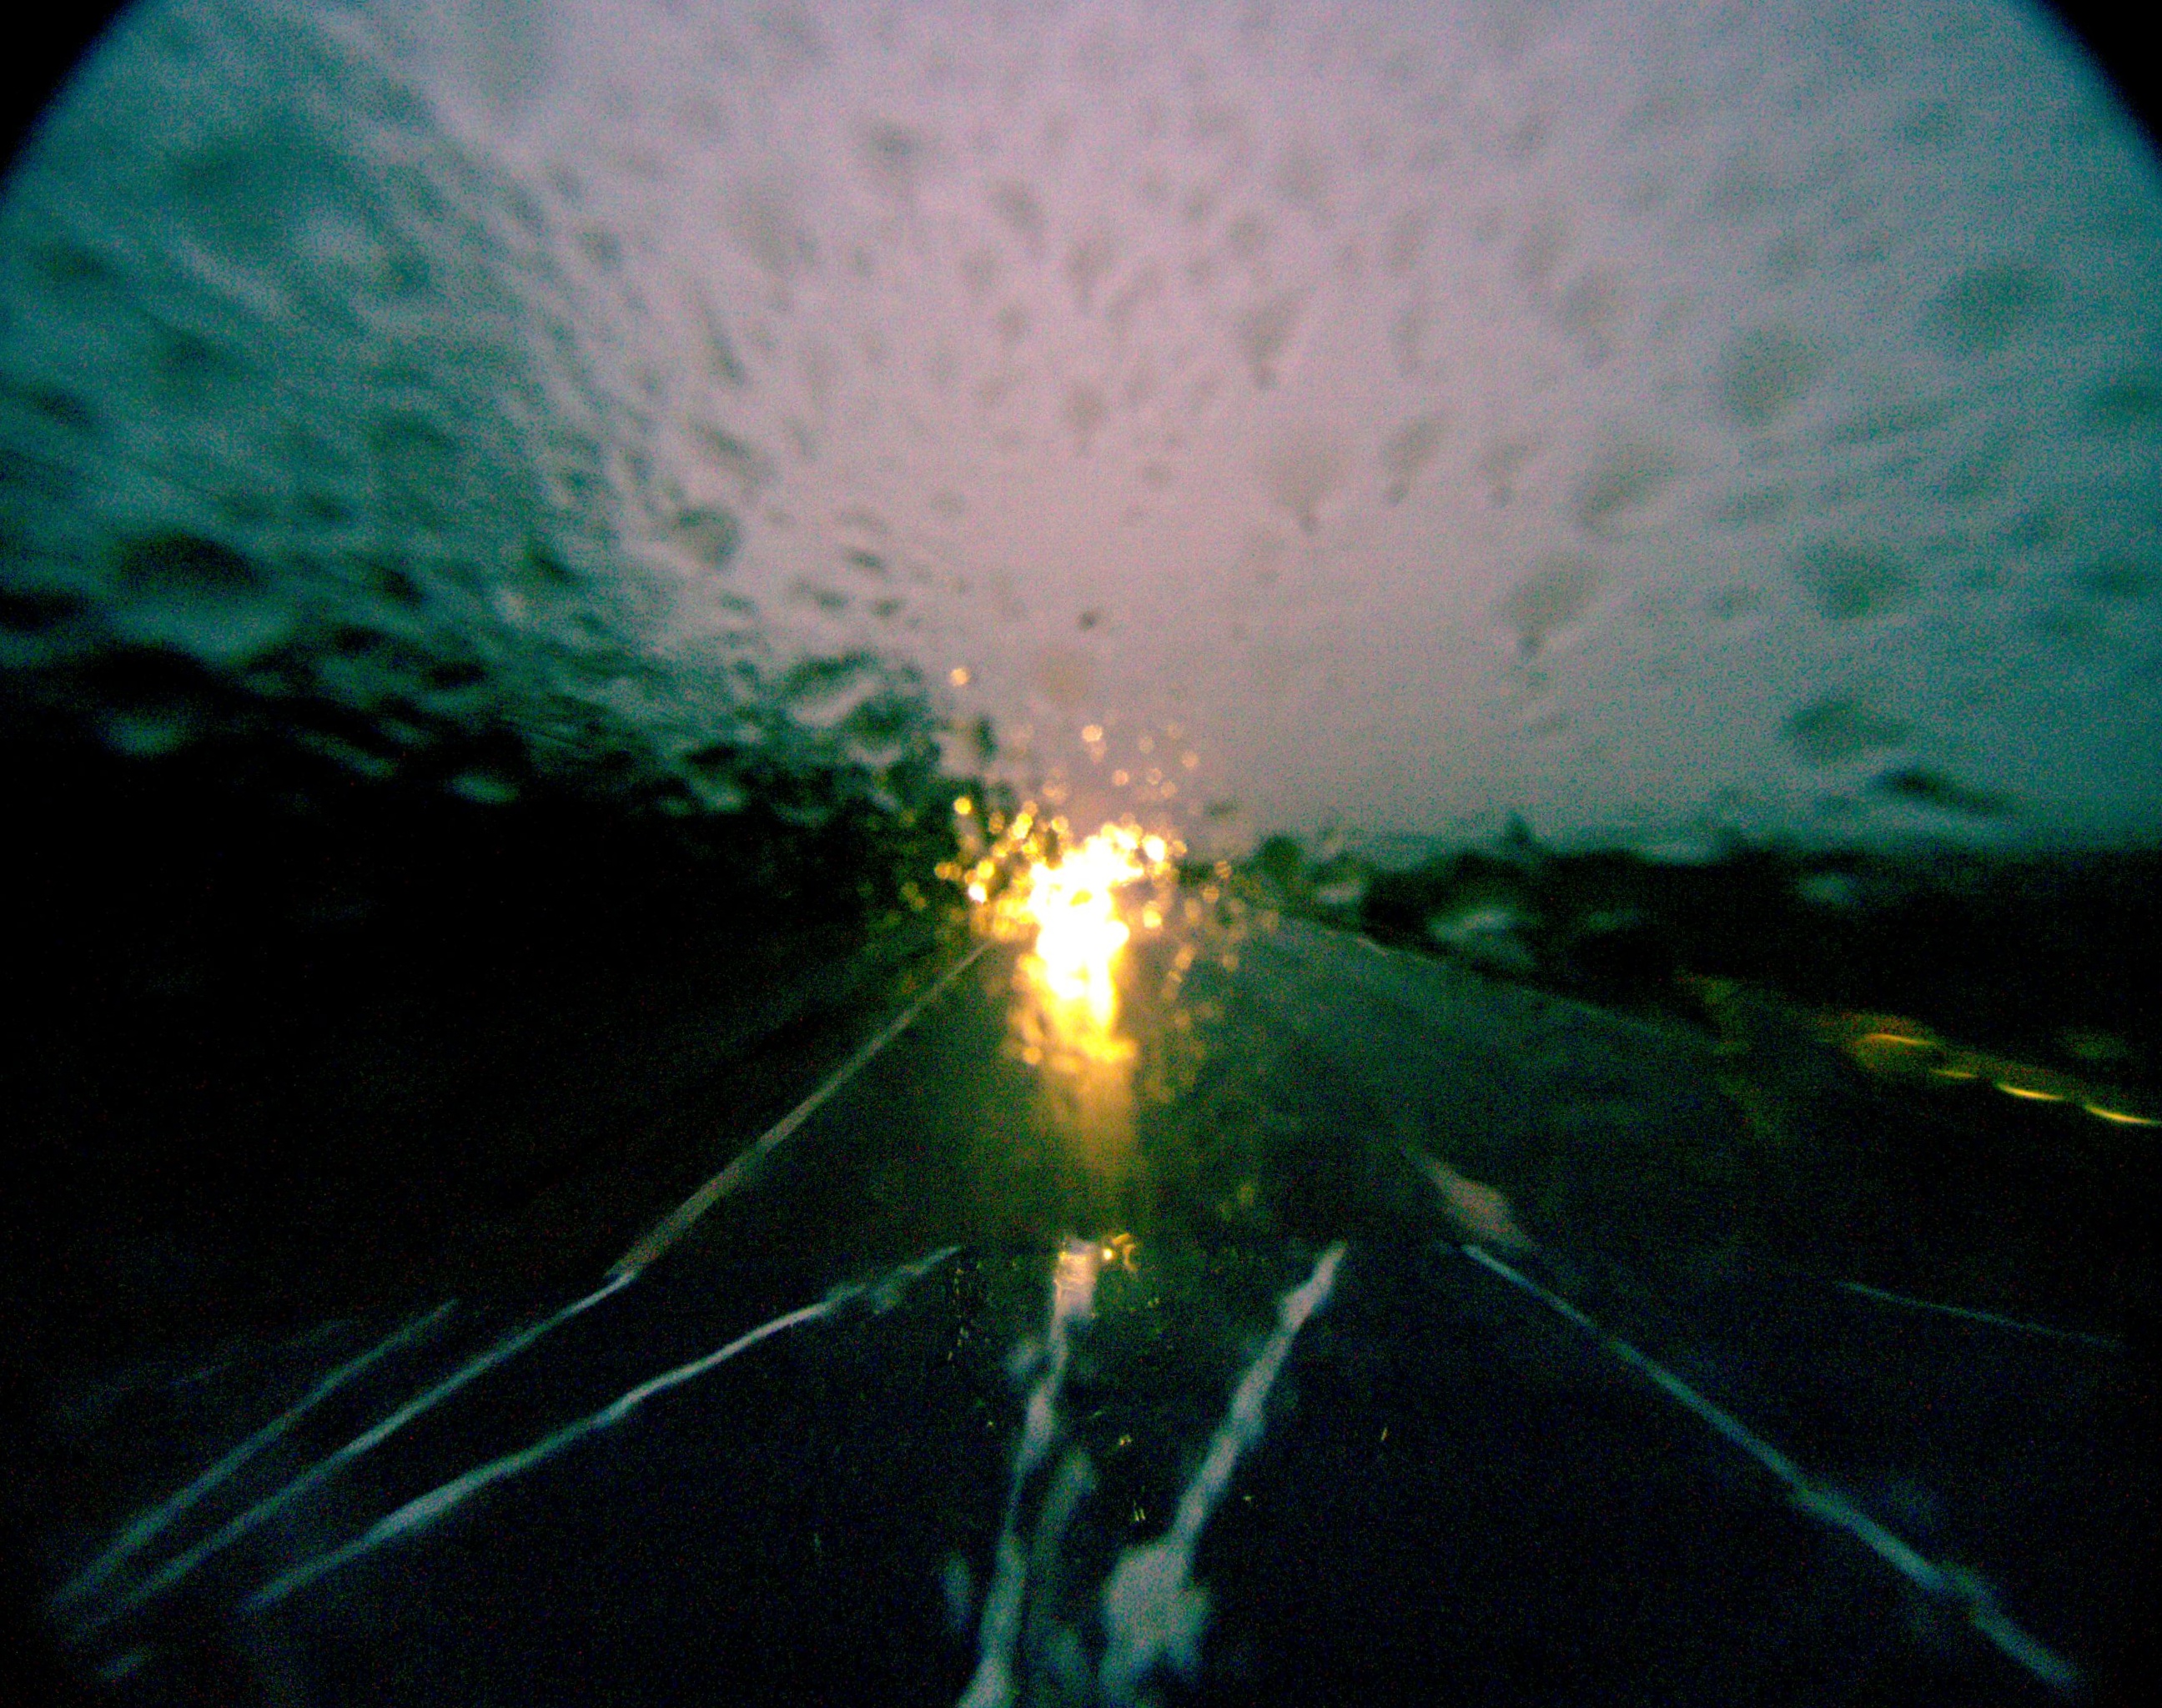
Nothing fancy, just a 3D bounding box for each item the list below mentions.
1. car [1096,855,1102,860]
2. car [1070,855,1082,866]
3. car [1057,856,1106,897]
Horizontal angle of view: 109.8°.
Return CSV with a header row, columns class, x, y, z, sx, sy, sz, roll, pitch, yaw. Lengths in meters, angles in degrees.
class,x,y,z,sx,sy,sz,roll,pitch,yaw
car,6.056,1.244,262.041,1.998,1.455,4.351,3,1,1
car,-0.826,1.061,131.192,1.933,1.740,4.000,-2,0,1
car,0.019,0.876,31.497,1.844,1.484,3.956,-2,0,0
